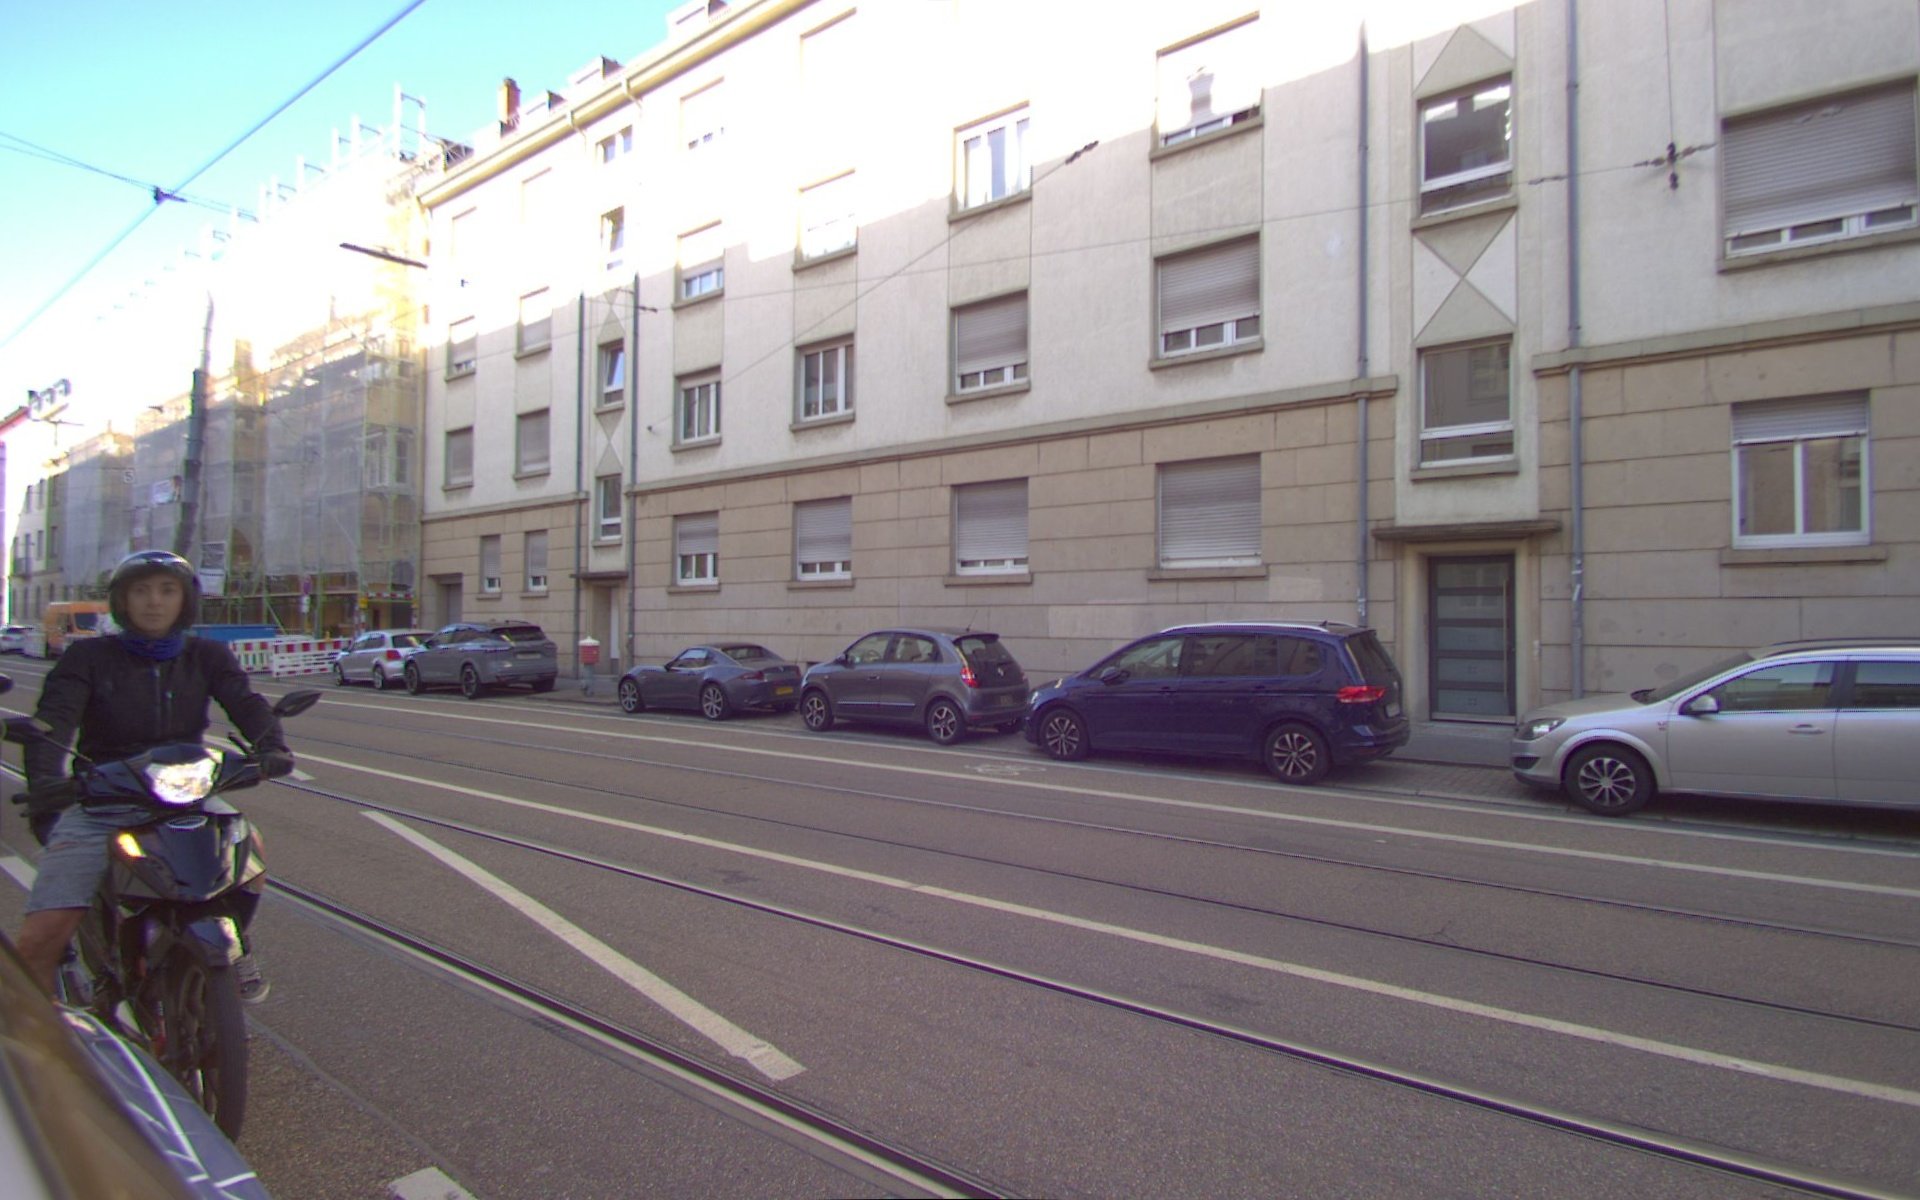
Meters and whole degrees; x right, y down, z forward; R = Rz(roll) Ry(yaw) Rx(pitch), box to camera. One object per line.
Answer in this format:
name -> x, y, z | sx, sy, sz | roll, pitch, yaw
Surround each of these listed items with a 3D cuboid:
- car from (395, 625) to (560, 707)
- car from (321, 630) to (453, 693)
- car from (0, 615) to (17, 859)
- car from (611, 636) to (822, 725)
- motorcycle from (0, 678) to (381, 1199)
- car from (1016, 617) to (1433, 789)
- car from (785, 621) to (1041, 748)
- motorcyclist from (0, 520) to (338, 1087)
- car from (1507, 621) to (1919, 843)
car -> -10.849, 1.403, 22.661 | 4.108, 1.603, 1.691 | -1, 0, 38
car -> -14.474, 1.495, 25.508 | 3.639, 1.402, 1.617 | -1, 0, 37
car -> -8.004, 0.871, 7.010 | 3.997, 1.515, 1.670 | -2, -3, 40
car -> -4.250, 1.317, 17.521 | 3.483, 1.286, 1.730 | -1, 0, 37
motorcycle -> -2.416, 0.911, 3.062 | 1.980, 1.228, 0.532 | -1, 0, 41
car -> 2.954, 1.021, 11.708 | 4.285, 1.597, 1.887 | -1, 0, 37
car -> -0.736, 1.118, 14.700 | 3.493, 1.584, 1.650 | -1, 0, 38
motorcyclist -> -2.550, 0.542, 3.195 | 0.598, 1.516, 0.851 | -1, 0, 41
car -> 7.230, 0.993, 8.533 | 4.358, 1.571, 1.975 | -1, 0, 38
